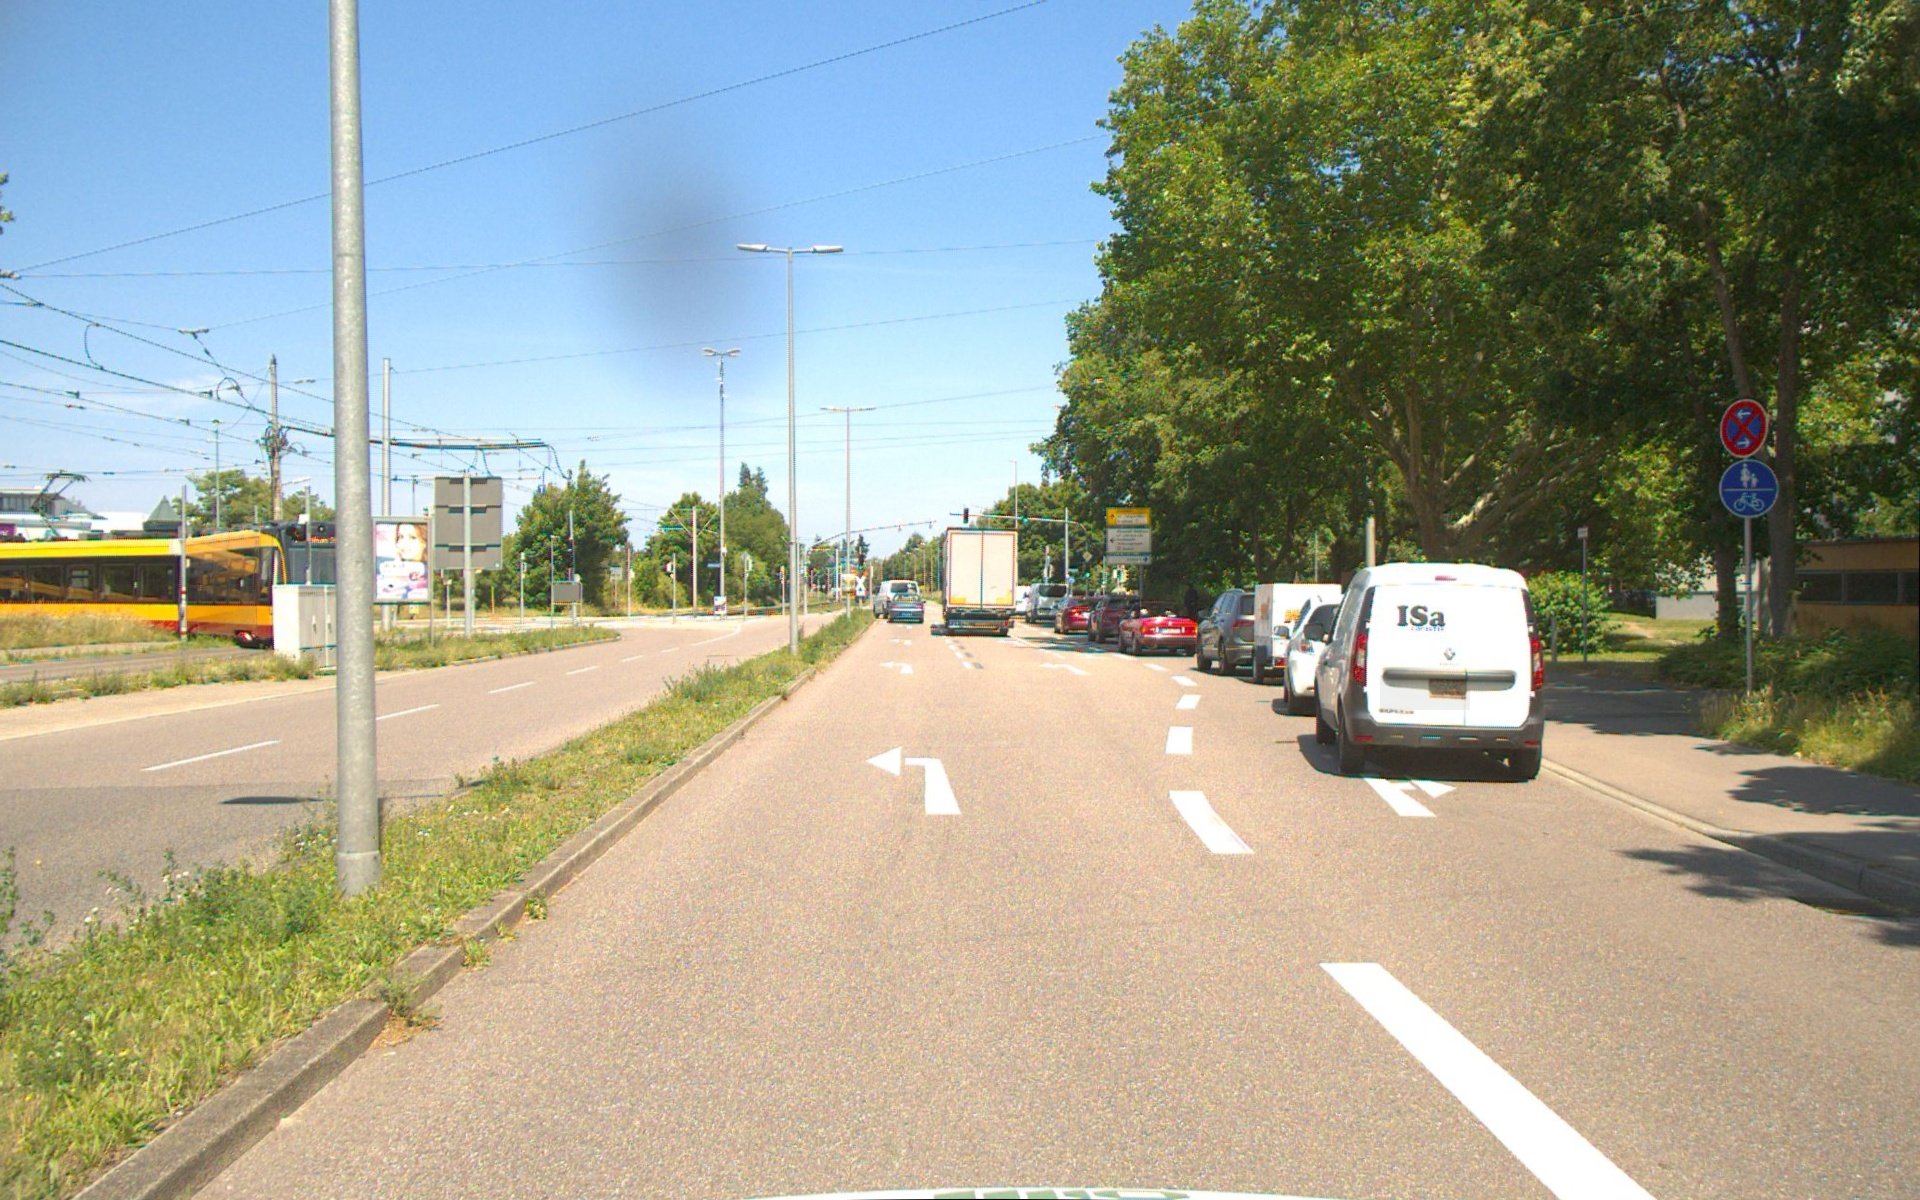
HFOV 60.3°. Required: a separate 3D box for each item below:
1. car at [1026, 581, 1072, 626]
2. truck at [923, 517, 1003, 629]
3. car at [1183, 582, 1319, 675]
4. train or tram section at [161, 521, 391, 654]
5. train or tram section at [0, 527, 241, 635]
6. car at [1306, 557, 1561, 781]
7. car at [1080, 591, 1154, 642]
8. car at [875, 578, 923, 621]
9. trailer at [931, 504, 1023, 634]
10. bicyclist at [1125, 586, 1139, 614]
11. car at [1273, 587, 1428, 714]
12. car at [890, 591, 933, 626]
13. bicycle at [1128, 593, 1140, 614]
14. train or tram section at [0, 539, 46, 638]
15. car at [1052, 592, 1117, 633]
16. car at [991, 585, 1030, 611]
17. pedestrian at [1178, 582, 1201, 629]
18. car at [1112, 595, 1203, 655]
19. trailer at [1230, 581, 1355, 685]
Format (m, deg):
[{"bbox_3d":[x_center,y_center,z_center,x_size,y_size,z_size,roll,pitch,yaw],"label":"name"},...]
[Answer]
[{"bbox_3d":[4.404,0.162,82.635,1.853,2.158,3.885,1,0,-3],"label":"car"},{"bbox_3d":[0.026,-1.156,70.660,2.771,4.420,8.279,2,1,-4],"label":"truck"},{"bbox_3d":[5.629,0.509,32.528,1.665,1.683,4.396,1,0,-3],"label":"car"},{"bbox_3d":[-20.945,-0.444,49.932,3.015,3.526,13.111,1,0,-38],"label":"train or tram section"},{"bbox_3d":[-29.677,-0.722,57.447,9.995,3.526,3.042,1,0,28],"label":"train or tram section"},{"bbox_3d":[4.293,0.545,15.628,1.673,1.778,4.431,1,0,8],"label":"car"},{"bbox_3d":[5.096,0.515,54.047,1.821,1.576,3.885,1,0,-3],"label":"car"},{"bbox_3d":[-3.267,-0.060,87.085,1.957,2.148,4.738,0,1,-9],"label":"car"},{"bbox_3d":[0.521,-1.111,62.124,2.771,4.499,8.744,1,0,-3],"label":"trailer"},{"bbox_3d":[10.994,-0.013,105.913,0.785,1.757,0.679,-2,0,9],"label":"bicyclist"},{"bbox_3d":[5.144,0.606,22.183,1.684,1.514,3.881,1,0,9],"label":"car"},{"bbox_3d":[-2.295,0.434,79.187,1.854,1.396,4.429,4,-2,0],"label":"car"},{"bbox_3d":[11.122,0.212,105.872,0.631,1.327,1.627,-2,0,9],"label":"bicycle"},{"bbox_3d":[-40.443,-0.547,60.441,12.445,3.526,3.047,1,0,2],"label":"train or tram section"},{"bbox_3d":[4.833,0.460,64.912,1.954,1.529,4.499,0,1,-3],"label":"car"},{"bbox_3d":[2.971,-0.124,97.609,1.954,1.462,4.249,0,1,-3],"label":"car"},{"bbox_3d":[9.104,0.219,65.685,0.738,1.847,0.693,-1,0,-3],"label":"pedestrian"},{"bbox_3d":[5.072,0.606,43.006,1.622,1.421,4.264,1,0,-3],"label":"car"},{"bbox_3d":[5.764,0.532,28.918,1.439,1.698,2.854,1,0,-3],"label":"trailer"}]
